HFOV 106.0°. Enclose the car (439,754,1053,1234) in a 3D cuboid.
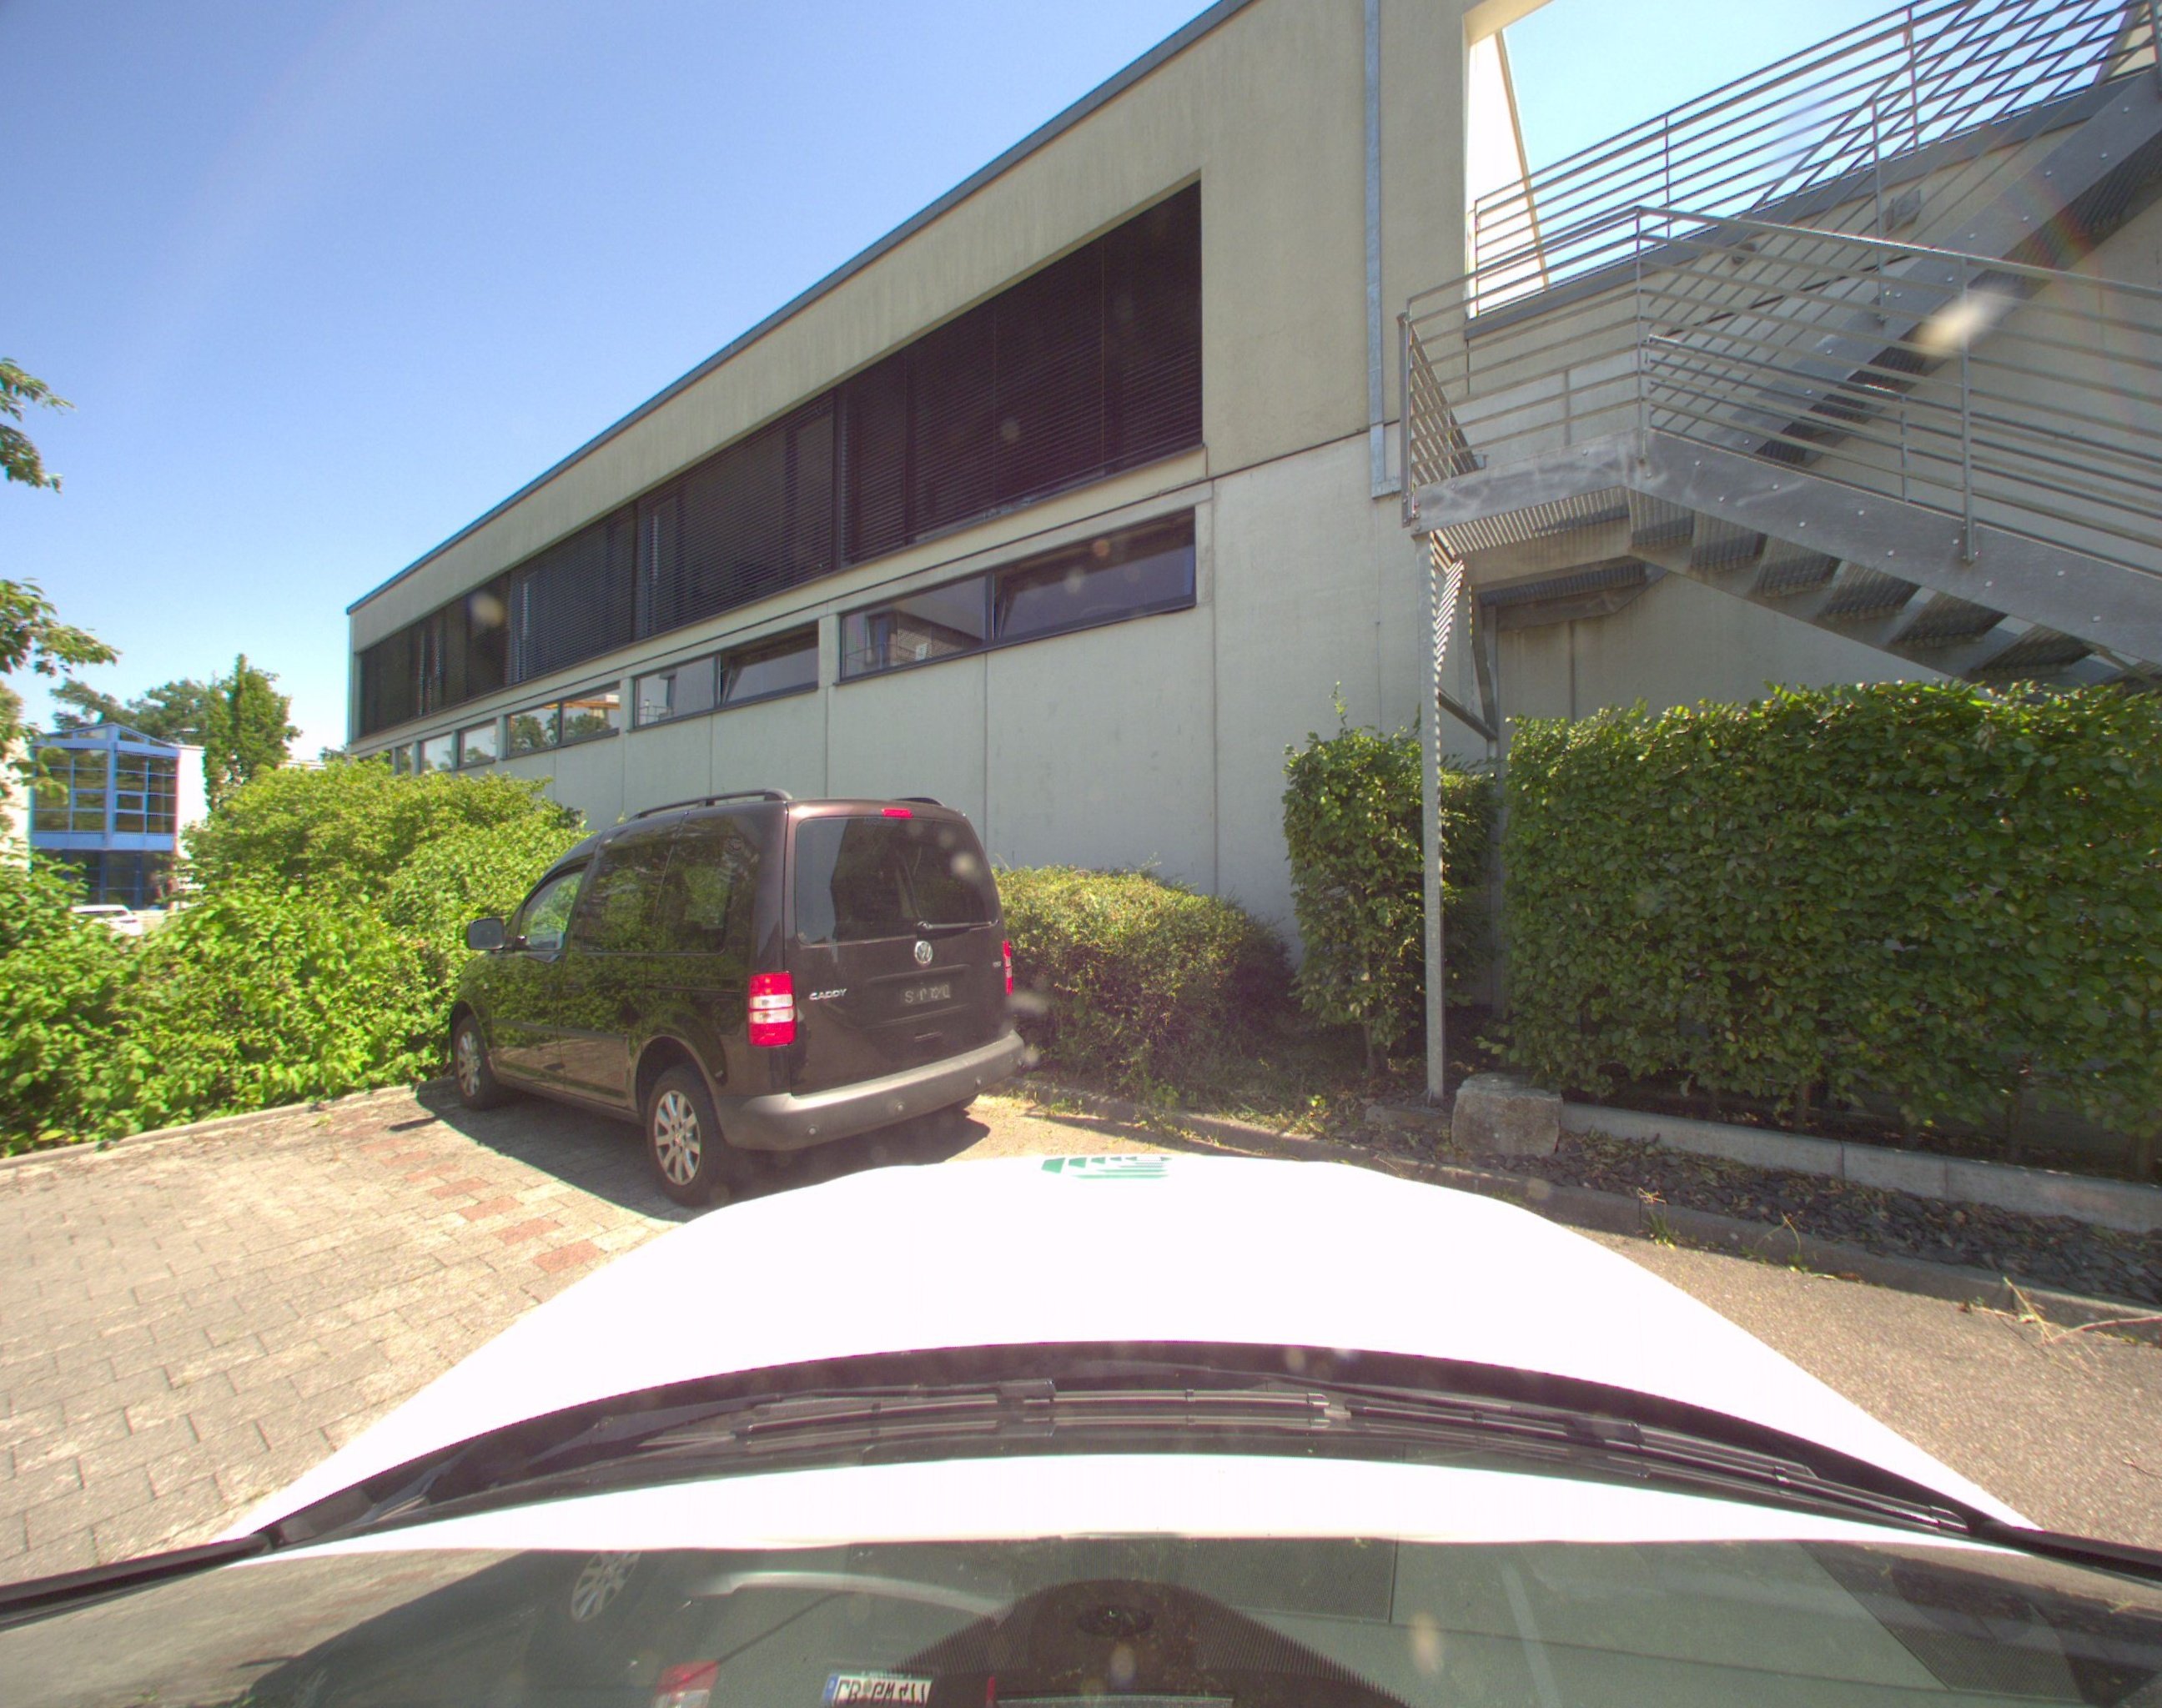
[{"bbox_3d":[-2.289,0.577,5.076,4.018,1.884,1.689,-1,-1,36],"label":"car"}]
